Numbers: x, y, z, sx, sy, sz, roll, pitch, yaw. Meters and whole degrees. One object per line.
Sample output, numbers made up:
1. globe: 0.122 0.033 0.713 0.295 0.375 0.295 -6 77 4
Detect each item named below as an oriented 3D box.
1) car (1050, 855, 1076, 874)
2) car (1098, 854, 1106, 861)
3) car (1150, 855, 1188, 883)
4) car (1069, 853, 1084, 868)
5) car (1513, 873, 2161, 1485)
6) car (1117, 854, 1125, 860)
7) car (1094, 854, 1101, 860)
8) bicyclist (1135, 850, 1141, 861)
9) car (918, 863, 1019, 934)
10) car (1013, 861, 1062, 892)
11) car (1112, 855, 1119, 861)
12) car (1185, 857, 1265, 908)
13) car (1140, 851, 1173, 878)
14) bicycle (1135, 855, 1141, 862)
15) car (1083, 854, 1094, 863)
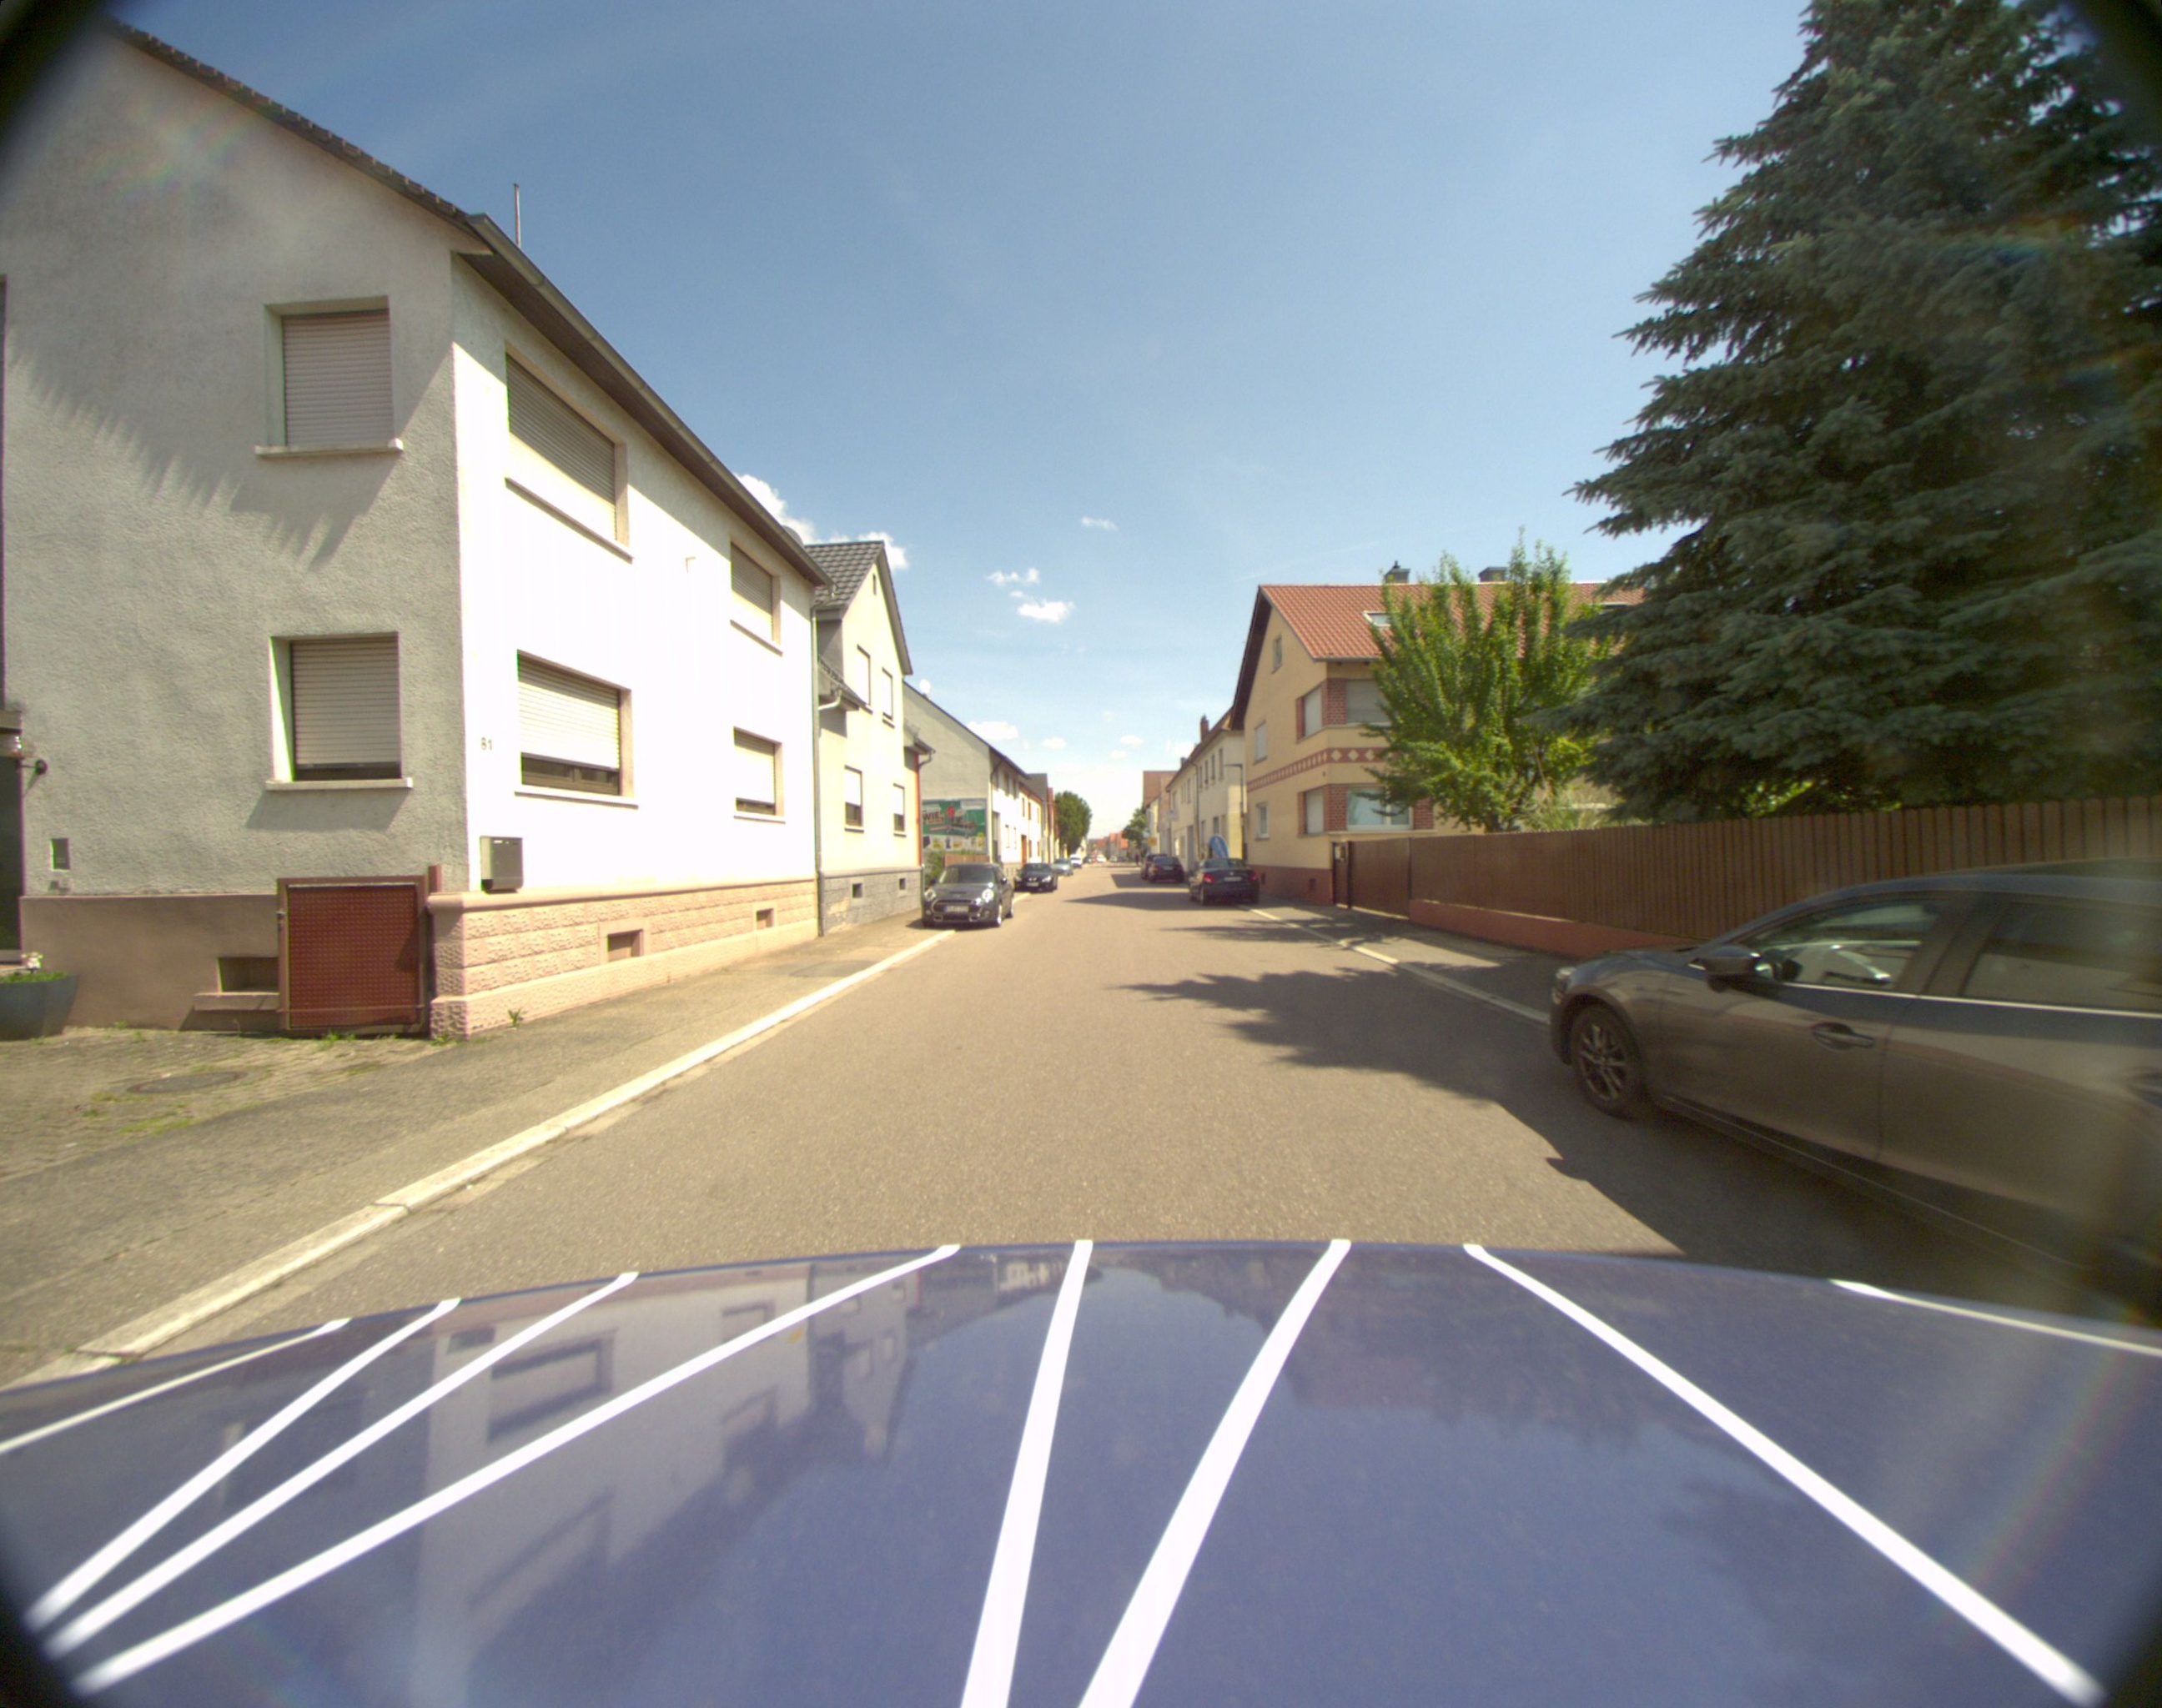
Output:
1. car: -1.468 0.871 62.970 1.725 1.473 3.751 2 1 6
2. car: 4.920 0.886 178.037 1.848 1.385 4.170 -1 -2 -1
3. car: 4.790 0.769 41.764 1.701 1.403 4.390 -2 0 2
4. car: -0.573 0.847 99.520 1.692 1.832 4.764 1 0 2
5. car: 3.703 0.880 2.849 1.772 1.451 4.437 -1 0 2
6. car: 9.326 0.740 178.127 1.726 1.385 4.171 -2 -2 3
7. car: 4.161 0.839 192.120 1.848 1.385 4.170 -1 -2 -1
8. bicyclist: 8.555 0.213 114.414 0.748 1.627 0.957 -2 1 5
9. car: -2.536 0.974 17.891 1.692 1.414 3.657 -1 0 2
10. car: -1.918 0.986 34.756 1.820 1.268 4.147 -1 0 2
11. car: 8.728 1.096 193.334 1.598 1.385 4.168 -2 0 2
12. car: 4.408 0.824 23.832 1.765 1.366 4.066 -2 0 1
13. car: 4.806 0.643 48.554 1.721 1.630 4.148 0 0 0
14. bicycle: 8.560 0.633 114.383 0.744 1.041 1.941 -2 0 5
15. car: 1.395 0.833 141.071 1.597 1.533 4.201 -3 1 4
